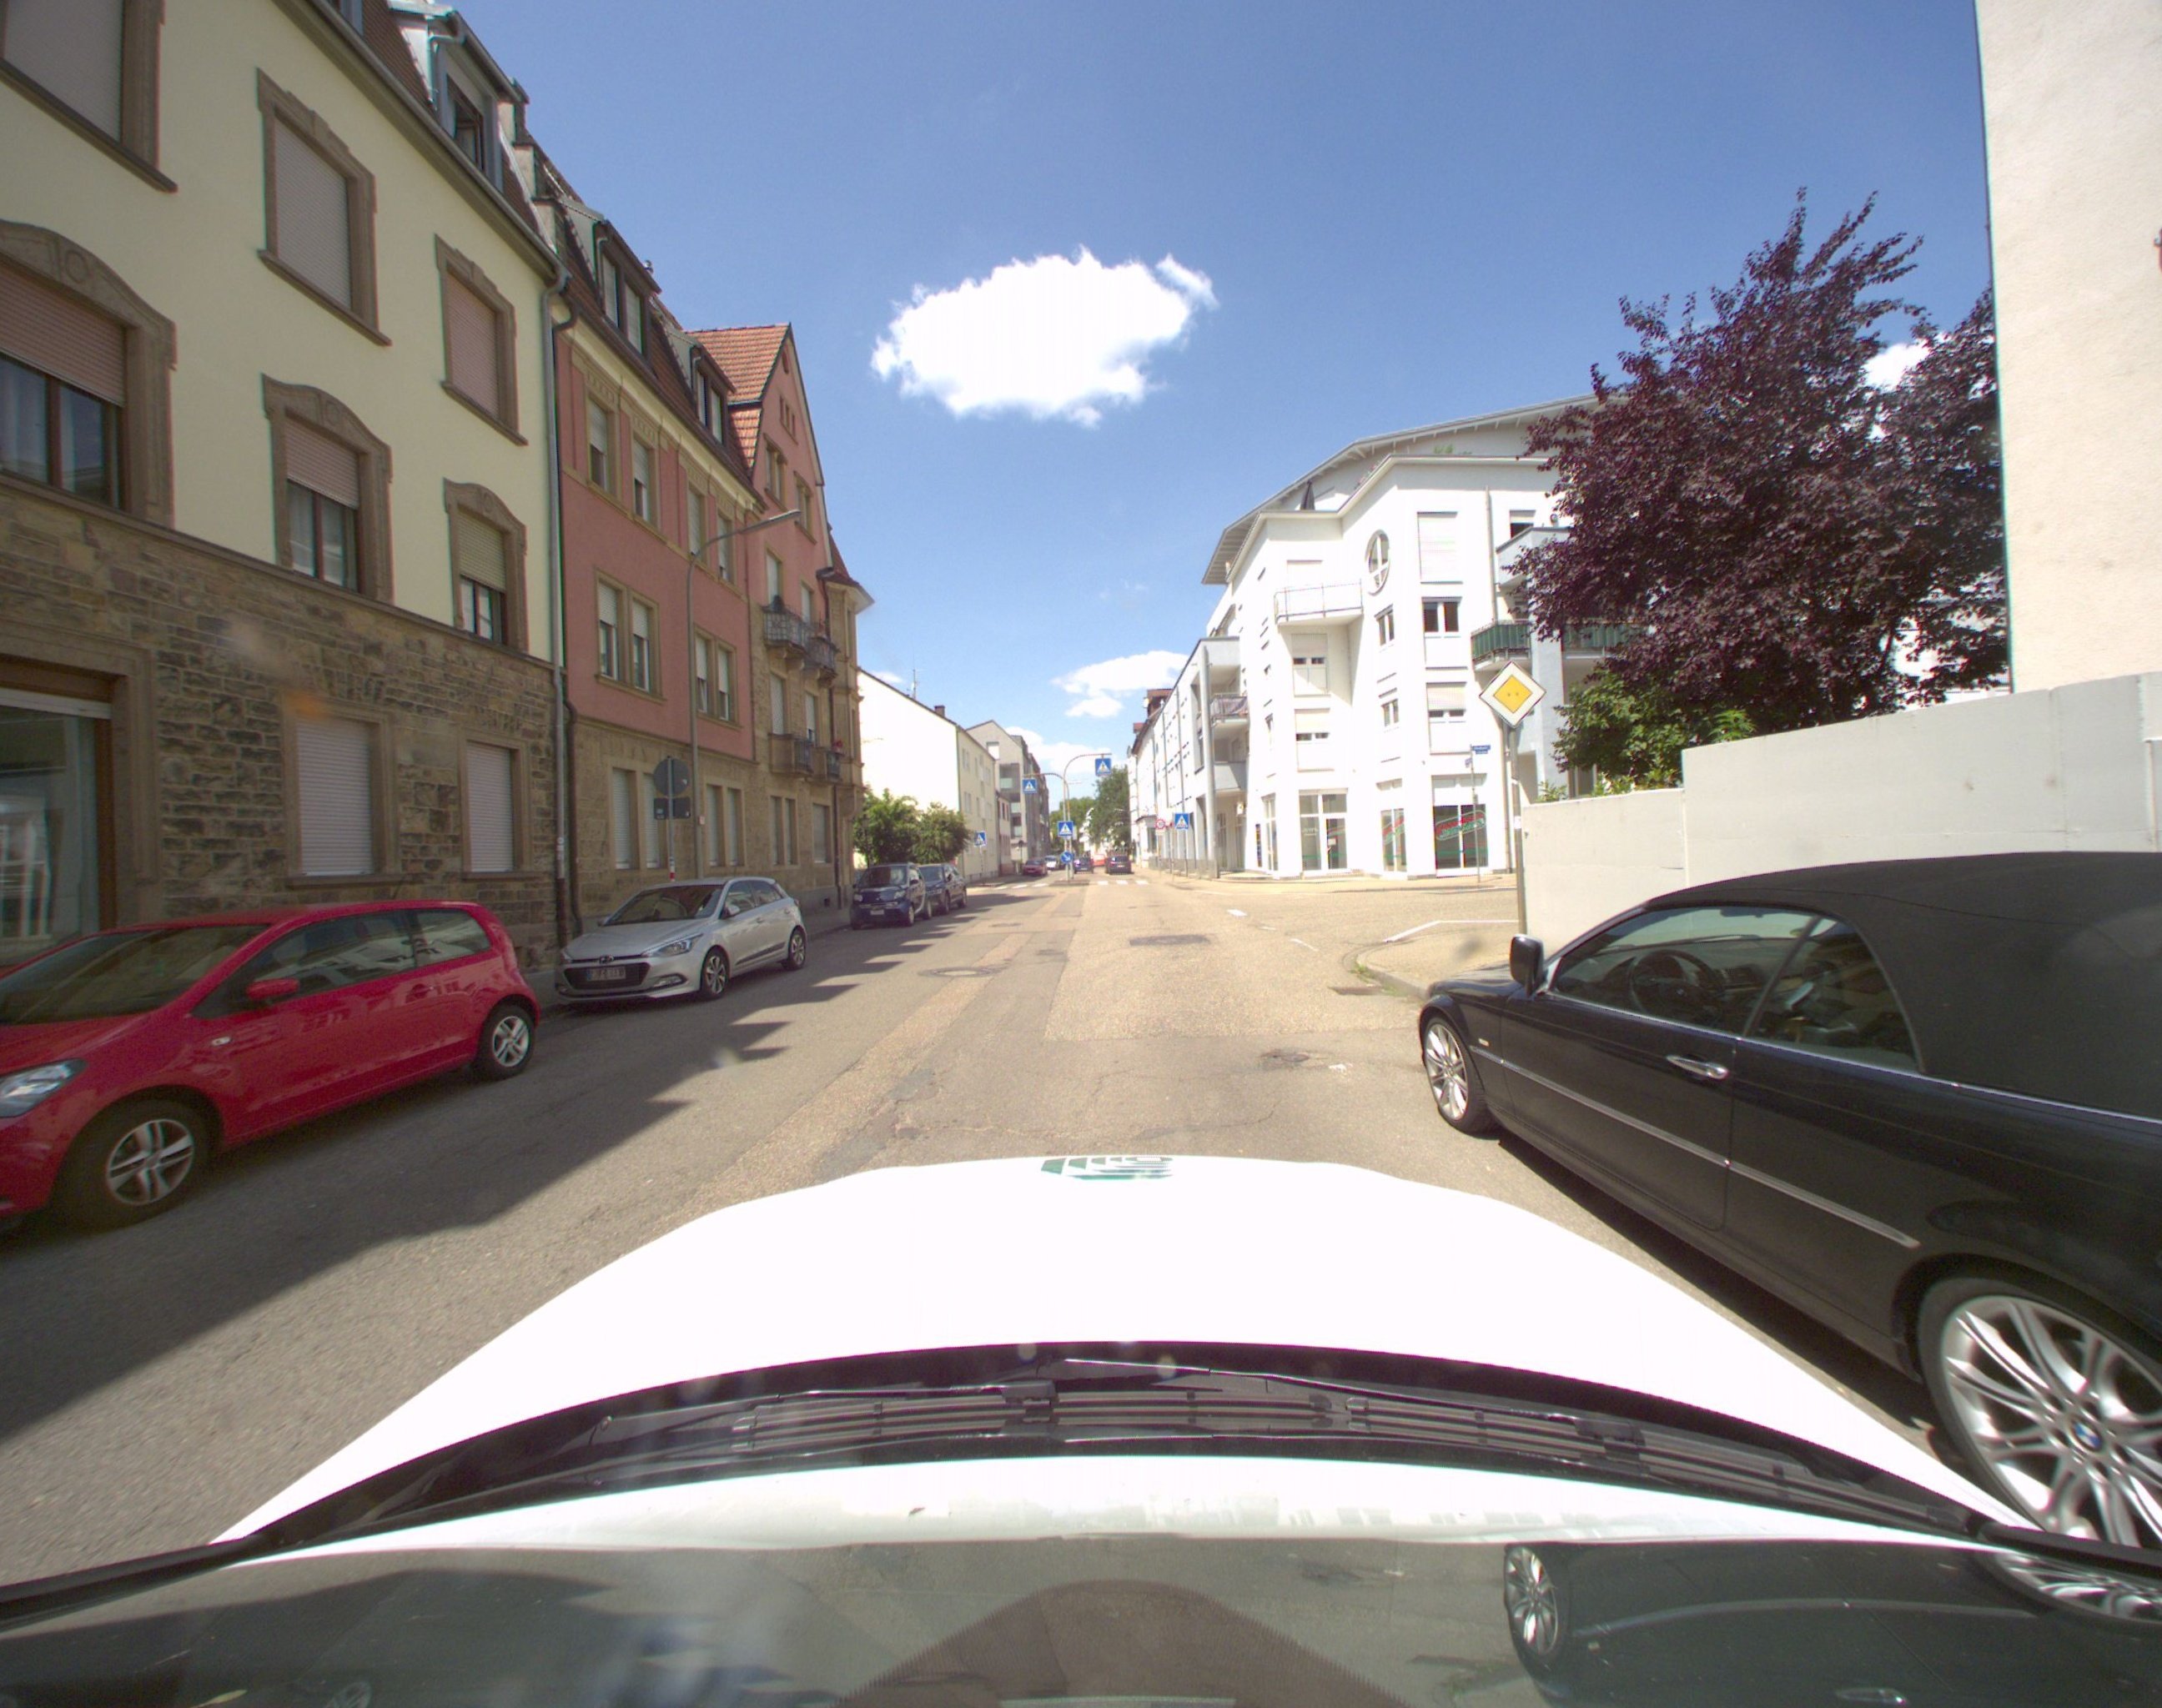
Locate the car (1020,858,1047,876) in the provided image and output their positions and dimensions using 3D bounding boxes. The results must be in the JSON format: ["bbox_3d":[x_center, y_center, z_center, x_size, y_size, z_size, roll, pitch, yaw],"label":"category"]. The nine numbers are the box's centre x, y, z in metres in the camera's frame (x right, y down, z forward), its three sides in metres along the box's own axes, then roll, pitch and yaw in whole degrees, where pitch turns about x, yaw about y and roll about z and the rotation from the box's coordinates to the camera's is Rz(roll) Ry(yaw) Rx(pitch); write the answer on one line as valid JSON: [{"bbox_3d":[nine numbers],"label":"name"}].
[{"bbox_3d":[-4.070,1.061,70.115,1.826,1.417,4.293,-3,0,3],"label":"car"}]

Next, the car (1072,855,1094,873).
[{"bbox_3d":[0.186,0.831,70.197,1.709,1.402,4.000,-3,0,1],"label":"car"}]

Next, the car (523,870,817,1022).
[{"bbox_3d":[-5.111,1.039,10.832,1.628,1.431,4.021,-4,0,2],"label":"car"}]

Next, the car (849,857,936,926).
[{"bbox_3d":[-4.641,0.889,20.377,1.431,1.522,2.696,-3,0,1],"label":"car"}]

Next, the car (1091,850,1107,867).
[{"bbox_3d":[2.286,0.492,102.800,1.833,2.013,4.000,-3,0,1],"label":"car"}]

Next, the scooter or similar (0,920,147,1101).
[{"bbox_3d":[-7.988,1.175,6.099,0.373,1.220,1.320,-3,0,1],"label":"scooter or similar"}]

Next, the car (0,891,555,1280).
[{"bbox_3d":[-5.280,1.086,5.107,1.593,1.442,3.495,-4,0,0],"label":"car"}]

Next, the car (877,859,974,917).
[{"bbox_3d":[-4.576,0.945,24.647,1.776,1.458,4.637,-3,0,2],"label":"car"}]

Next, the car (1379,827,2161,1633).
[{"bbox_3d":[2.698,0.646,2.884,1.651,1.376,4.238,-3,0,0],"label":"car"}]

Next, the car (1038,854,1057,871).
[{"bbox_3d":[-4.036,0.990,97.880,1.749,1.892,4.341,-1,0,4],"label":"car"}]

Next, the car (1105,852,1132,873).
[{"bbox_3d":[2.843,0.662,62.639,1.705,1.508,3.997,-3,0,-1],"label":"car"}]
